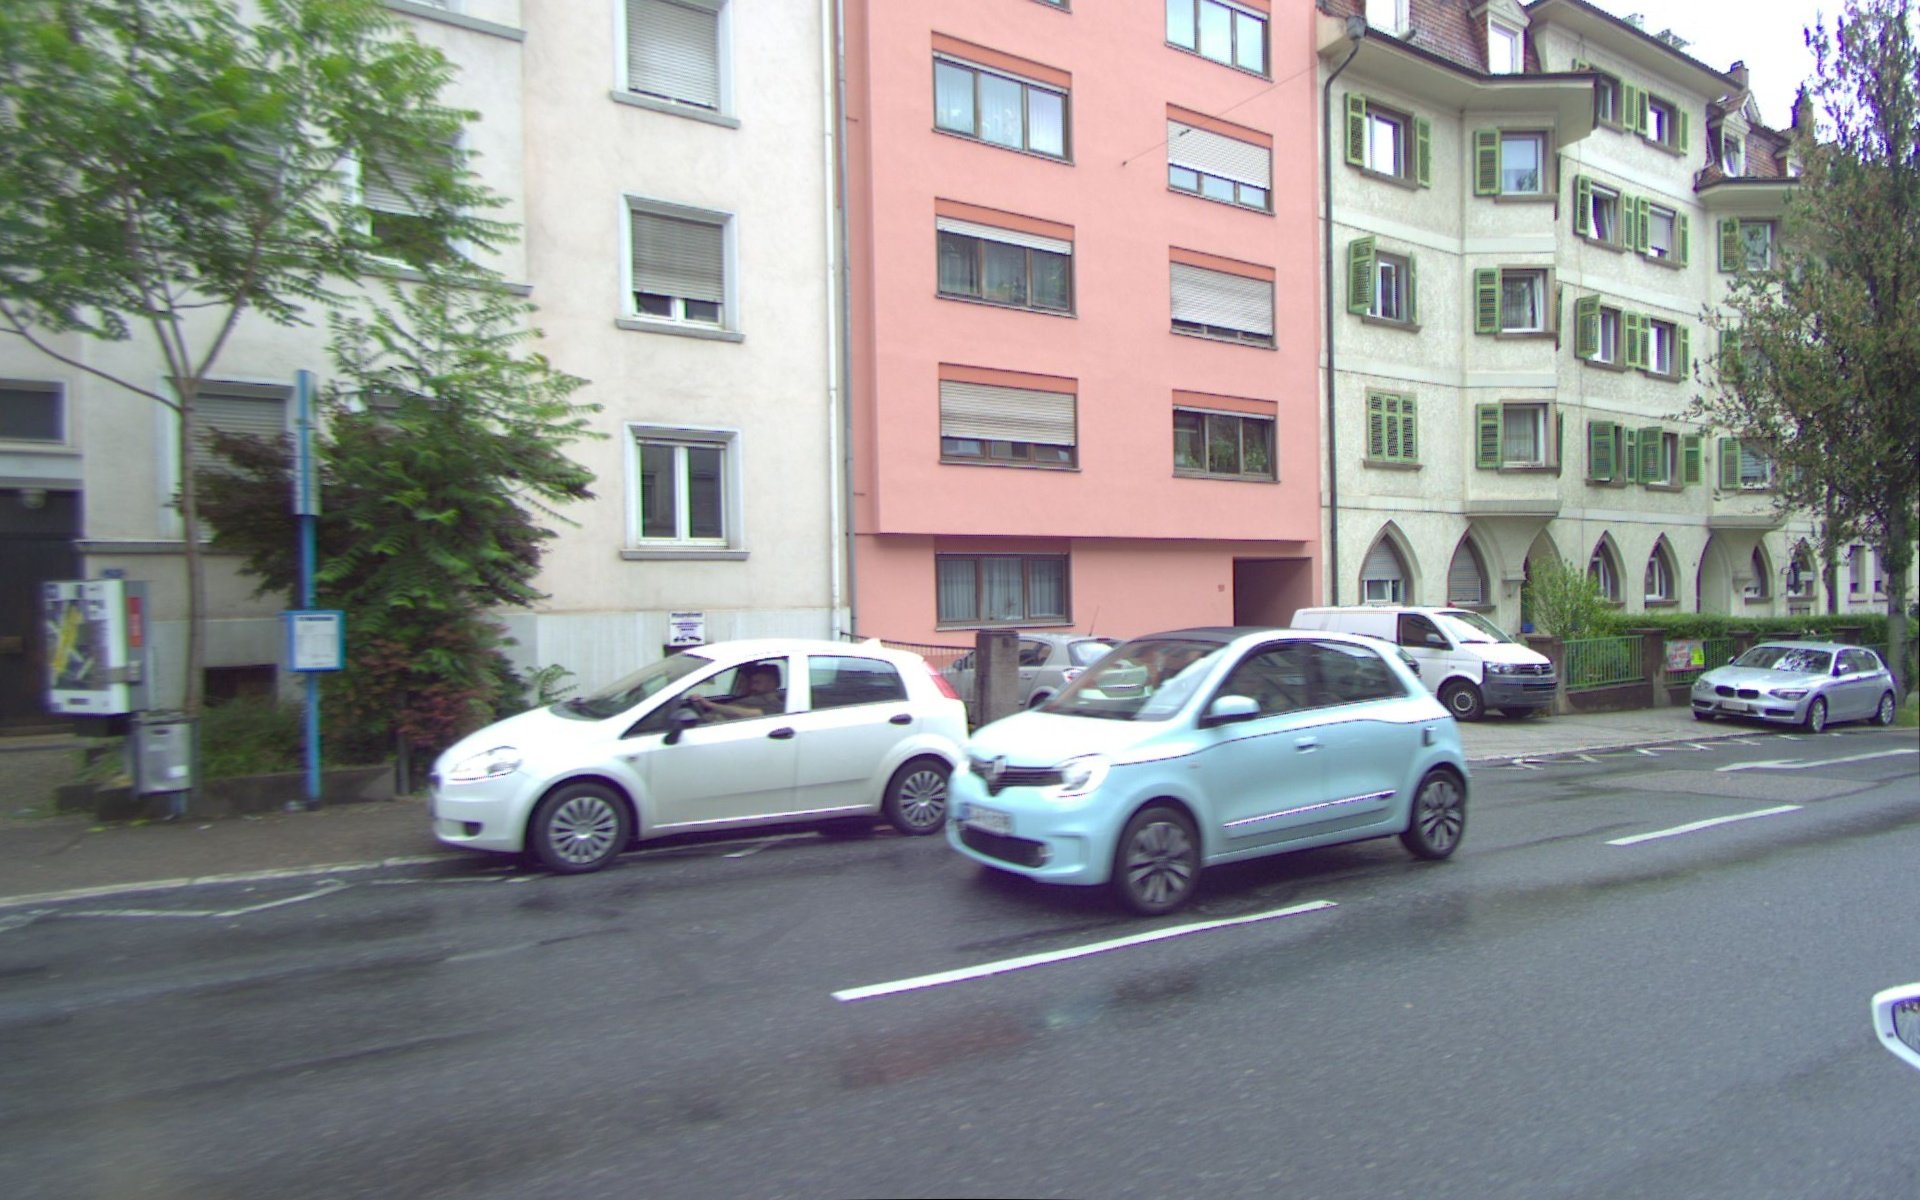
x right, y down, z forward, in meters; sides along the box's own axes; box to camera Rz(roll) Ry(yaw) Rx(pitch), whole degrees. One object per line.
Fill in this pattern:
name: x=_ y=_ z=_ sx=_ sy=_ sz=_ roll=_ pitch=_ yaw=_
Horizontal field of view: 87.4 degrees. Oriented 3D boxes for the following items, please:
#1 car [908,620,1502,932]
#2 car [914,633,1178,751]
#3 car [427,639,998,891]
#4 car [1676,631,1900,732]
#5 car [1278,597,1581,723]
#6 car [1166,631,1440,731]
car: x=1.672 y=0.948 z=6.618 sx=3.710 sy=1.528 sz=1.628 roll=1 pitch=-4 yaw=-30
car: x=1.132 y=1.224 z=14.748 sx=1.775 sy=1.476 sz=3.854 roll=1 pitch=-2 yaw=-37
car: x=-1.813 y=1.048 z=7.666 sx=3.956 sy=1.465 sz=1.614 roll=1 pitch=-1 yaw=-29
car: x=14.651 y=1.379 z=17.742 sx=3.941 sy=1.503 sz=1.718 roll=2 pitch=1 yaw=-29
car: x=8.402 y=1.022 z=18.510 sx=2.023 sy=2.000 sz=4.807 roll=1 pitch=-2 yaw=-29
car: x=5.749 y=1.286 z=17.410 sx=1.772 sy=1.471 sz=4.408 roll=1 pitch=-2 yaw=-32
